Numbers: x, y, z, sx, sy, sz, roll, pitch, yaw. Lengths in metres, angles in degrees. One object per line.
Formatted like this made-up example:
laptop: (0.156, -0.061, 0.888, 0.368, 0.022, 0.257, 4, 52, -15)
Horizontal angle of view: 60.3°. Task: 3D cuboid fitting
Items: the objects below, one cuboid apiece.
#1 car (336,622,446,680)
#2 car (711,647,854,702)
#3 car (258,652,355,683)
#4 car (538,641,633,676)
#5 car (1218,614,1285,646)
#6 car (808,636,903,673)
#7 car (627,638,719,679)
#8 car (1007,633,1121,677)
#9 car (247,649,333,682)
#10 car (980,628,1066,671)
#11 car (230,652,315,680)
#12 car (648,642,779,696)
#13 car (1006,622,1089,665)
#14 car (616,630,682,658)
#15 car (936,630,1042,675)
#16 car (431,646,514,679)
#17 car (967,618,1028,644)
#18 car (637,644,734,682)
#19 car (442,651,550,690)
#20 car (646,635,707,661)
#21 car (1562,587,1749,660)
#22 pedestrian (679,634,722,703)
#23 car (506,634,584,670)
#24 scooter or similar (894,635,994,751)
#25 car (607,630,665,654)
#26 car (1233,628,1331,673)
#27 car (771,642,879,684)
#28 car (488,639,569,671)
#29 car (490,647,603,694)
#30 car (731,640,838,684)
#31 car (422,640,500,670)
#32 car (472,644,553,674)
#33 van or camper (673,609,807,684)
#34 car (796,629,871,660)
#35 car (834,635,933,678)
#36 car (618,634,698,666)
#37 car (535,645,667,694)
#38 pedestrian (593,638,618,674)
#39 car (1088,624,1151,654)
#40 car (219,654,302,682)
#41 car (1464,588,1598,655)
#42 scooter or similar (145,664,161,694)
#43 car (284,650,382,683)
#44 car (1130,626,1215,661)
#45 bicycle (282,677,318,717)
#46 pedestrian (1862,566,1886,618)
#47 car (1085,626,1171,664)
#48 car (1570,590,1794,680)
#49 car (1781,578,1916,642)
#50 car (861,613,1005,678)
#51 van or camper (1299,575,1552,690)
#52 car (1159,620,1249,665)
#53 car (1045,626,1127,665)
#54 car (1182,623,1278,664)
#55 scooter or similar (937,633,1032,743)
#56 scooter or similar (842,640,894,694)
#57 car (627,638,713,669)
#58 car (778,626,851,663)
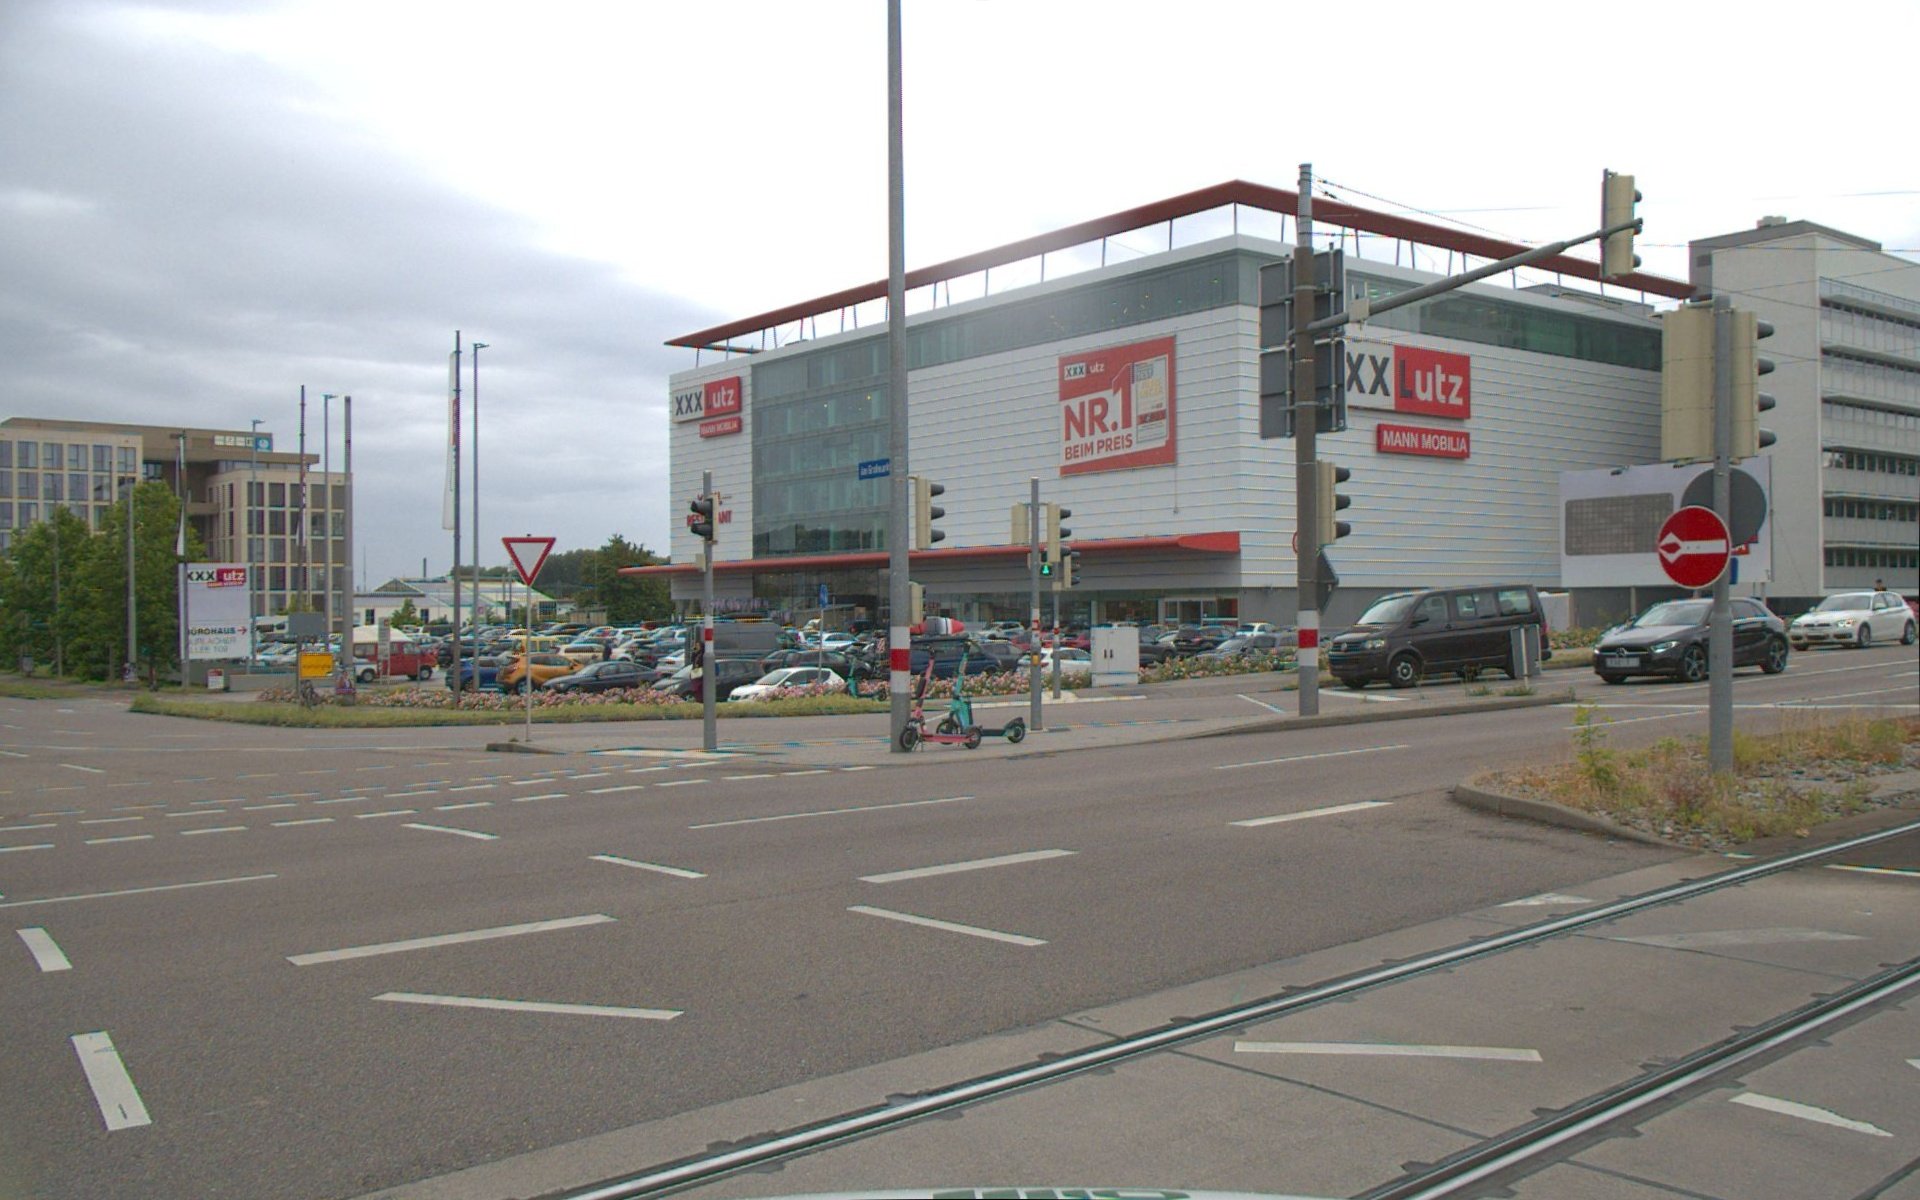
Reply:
car: (-27.817, 2.453, 80.953, 4.687, 2.624, 2.142, 0, 0, -37)
car: (-5.459, 2.271, 50.990, 4.081, 1.471, 1.849, 0, 1, -40)
car: (-34.446, 3.540, 87.230, 4.432, 1.444, 1.843, 0, 1, -37)
car: (-19.032, 2.963, 84.083, 4.378, 1.611, 1.810, 0, 0, -37)
car: (15.844, 1.589, 89.890, 3.578, 1.587, 1.629, -2, 1, -37)
car: (-4.707, 2.435, 74.581, 3.958, 1.583, 1.830, 0, -2, -38)
car: (-13.379, 2.685, 77.130, 3.868, 1.683, 1.805, -2, 1, -40)
car: (3.950, 2.063, 62.458, 4.166, 1.502, 1.722, -1, -1, -37)
car: (-36.081, 3.504, 89.055, 4.024, 1.567, 1.741, 0, 1, -37)
car: (3.090, 2.388, 80.750, 3.959, 1.894, 1.808, -2, 0, -38)
car: (-37.873, 3.608, 91.183, 4.028, 1.374, 1.809, 0, 1, -40)
car: (-8.236, 2.285, 55.487, 4.063, 1.611, 1.745, 0, 0, -38)
car: (4.541, 2.250, 85.627, 3.958, 2.049, 1.974, -2, 0, -37)
car: (-20.954, 2.949, 111.457, 3.952, 1.781, 1.873, 0, -2, -34)
car: (1.200, 2.134, 67.156, 3.962, 1.704, 1.971, 0, -2, -40)
car: (-28.296, 3.599, 95.998, 4.278, 1.774, 1.865, 0, 0, -36)
car: (2.452, 2.016, 107.633, 3.768, 1.581, 1.805, 0, 1, -39)
car: (-12.361, 2.821, 74.553, 3.957, 1.579, 1.839, 0, -2, -37)
car: (-19.273, 2.931, 68.777, 3.958, 1.481, 1.790, 0, -2, -38)
car: (-18.370, 3.139, 107.259, 3.537, 1.615, 1.719, 0, -2, -34)
car: (16.057, 0.532, 38.137, 4.269, 1.489, 1.946, -2, 0, -34)
pedestrian: (-6.367, 1.683, 40.667, 0.699, 1.625, 0.784, -4, -3, 18)
car: (-22.208, 2.766, 88.468, 3.708, 1.799, 1.711, 0, 0, -37)
scooter or similar: (-0.186, 1.076, 19.237, 1.002, 1.278, 0.461, -2, -2, -25)
car: (-22.217, 2.871, 113.390, 3.537, 1.615, 1.719, 0, -2, -34)
car: (13.048, 2.019, 66.850, 3.965, 1.695, 1.857, 0, -1, -42)
car: (-5.455, 2.552, 67.046, 3.950, 1.583, 1.925, -1, -2, -33)
car: (-23.560, 2.989, 90.359, 3.958, 1.624, 1.855, 0, 1, -37)
car: (-16.250, 2.757, 65.029, 3.952, 1.672, 1.794, -1, -2, -34)
car: (-7.279, 2.563, 68.809, 3.959, 1.596, 1.973, -2, 0, -38)
car: (-29.667, 3.230, 98.320, 4.138, 1.693, 1.810, 0, -2, -36)
car: (-24.957, 3.280, 92.284, 3.961, 1.561, 1.862, 0, -2, -39)
van or camper: (-9.370, 1.970, 70.607, 5.324, 3.036, 1.971, -1, -2, -30)
car: (-7.197, 2.517, 94.010, 3.962, 1.684, 1.808, 0, -2, -40)
car: (-3.348, 2.441, 72.298, 3.957, 1.699, 1.861, -1, -1, -37)
car: (-16.391, 2.721, 89.870, 3.956, 1.663, 1.763, 0, -2, -37)
car: (-13.198, 2.520, 60.893, 4.494, 1.611, 1.745, 0, 0, -38)
pedestrian: (-17.688, 2.792, 82.566, 0.933, 1.749, 0.873, 0, 0, -40)
car: (9.472, 2.288, 98.151, 3.578, 1.587, 1.629, -2, 1, -37)
car: (-39.467, 3.803, 93.327, 4.028, 1.374, 1.739, 0, 1, -40)
car: (27.130, 0.956, 78.514, 6.878, 3.042, 2.732, 0, 0, -38)
scooter or similar: (-40.039, 3.917, 82.050, 0.643, 1.446, 1.801, -1, -2, -29)
car: (-31.691, 3.339, 83.634, 4.342, 1.486, 1.935, 0, 1, -37)
car: (10.344, 2.112, 80.467, 3.957, 1.558, 1.755, -2, 0, -37)
bicycle: (-18.201, 2.668, 45.587, 0.657, 1.067, 1.673, 0, -2, -32)
pedestrian: (32.496, -0.276, 58.798, 0.684, 1.822, 0.640, 0, 0, 37)
car: (8.359, 2.228, 82.024, 3.956, 1.682, 1.925, -1, -1, -36)
car: (13.237, 0.583, 30.255, 4.156, 1.489, 1.816, -1, 1, -34)
car: (23.151, 0.221, 43.044, 4.006, 1.566, 1.709, -1, 1, -39)
car: (-0.996, 1.674, 61.493, 4.991, 2.203, 2.097, -1, -1, -34)
van or camper: (9.643, 0.680, 34.304, 4.672, 2.049, 2.110, -3, -2, -22)
car: (11.532, 1.999, 78.190, 3.956, 1.962, 1.925, -1, -1, -36)
car: (6.408, 2.303, 84.043, 3.956, 1.850, 1.797, -1, -1, -36)
car: (11.253, 1.802, 68.820, 3.966, 1.543, 1.805, -2, 0, -42)
scooter or similar: (0.305, 1.082, 20.430, 1.098, 1.278, 0.318, -2, -2, -26)
scooter or similar: (-2.179, 1.586, 39.162, 1.136, 1.255, 0.346, -2, -3, 14)
car: (-15.319, 2.822, 87.554, 4.207, 1.494, 1.717, 0, 0, -37)
car: (-8.463, 2.574, 96.401, 3.964, 2.092, 1.886, 0, 0, -41)
